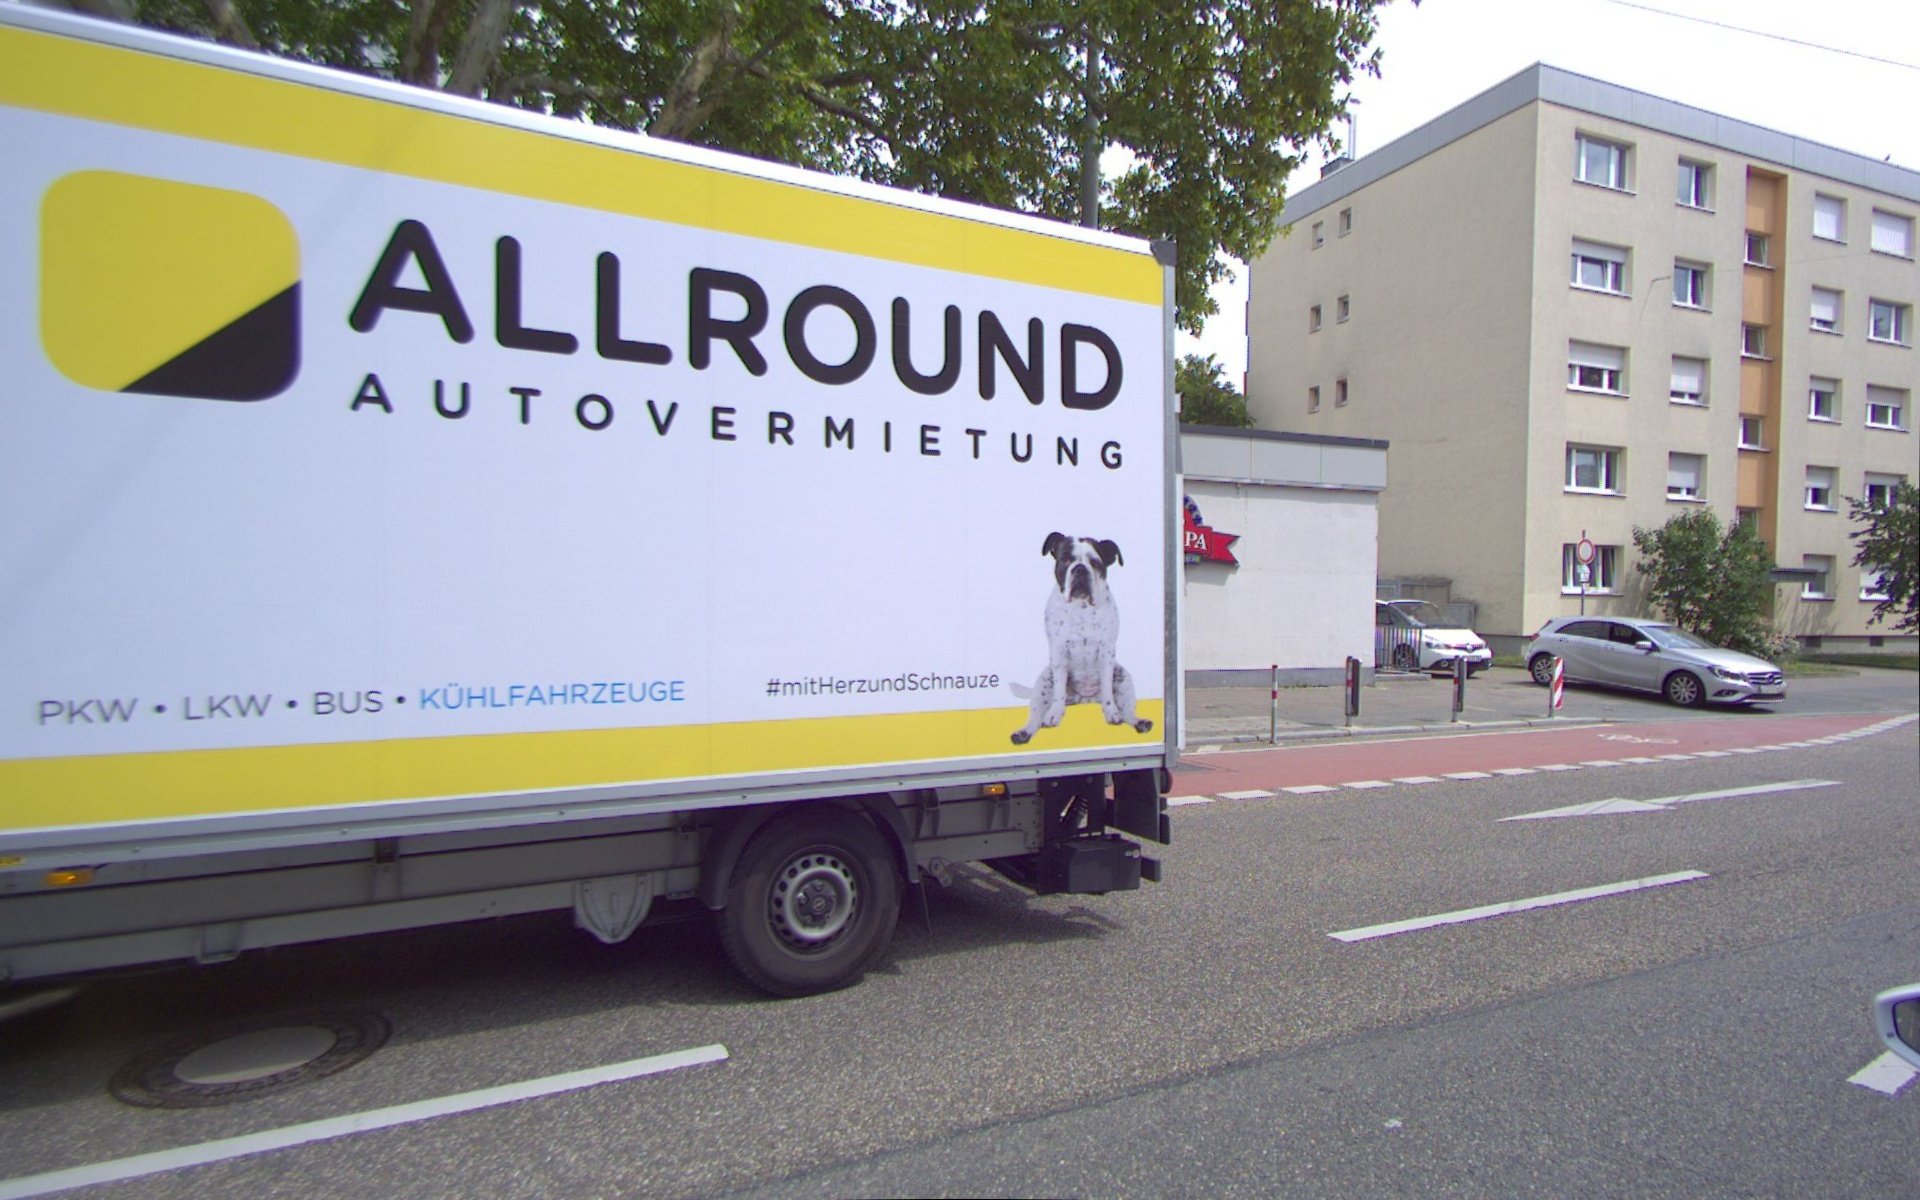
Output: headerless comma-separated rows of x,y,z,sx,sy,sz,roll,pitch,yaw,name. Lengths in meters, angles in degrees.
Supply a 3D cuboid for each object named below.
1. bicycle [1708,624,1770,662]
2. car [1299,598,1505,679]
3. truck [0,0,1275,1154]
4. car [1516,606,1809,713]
22.299,1.243,28.746,1.775,1.052,0.411,1,0,-16,bicycle
10.210,0.836,23.645,1.820,1.708,4.627,1,0,-18,car
-2.194,-0.144,4.095,6.931,3.148,2.532,1,-1,-28,truck
12.946,1.016,18.860,1.821,1.470,4.164,1,4,-21,car
